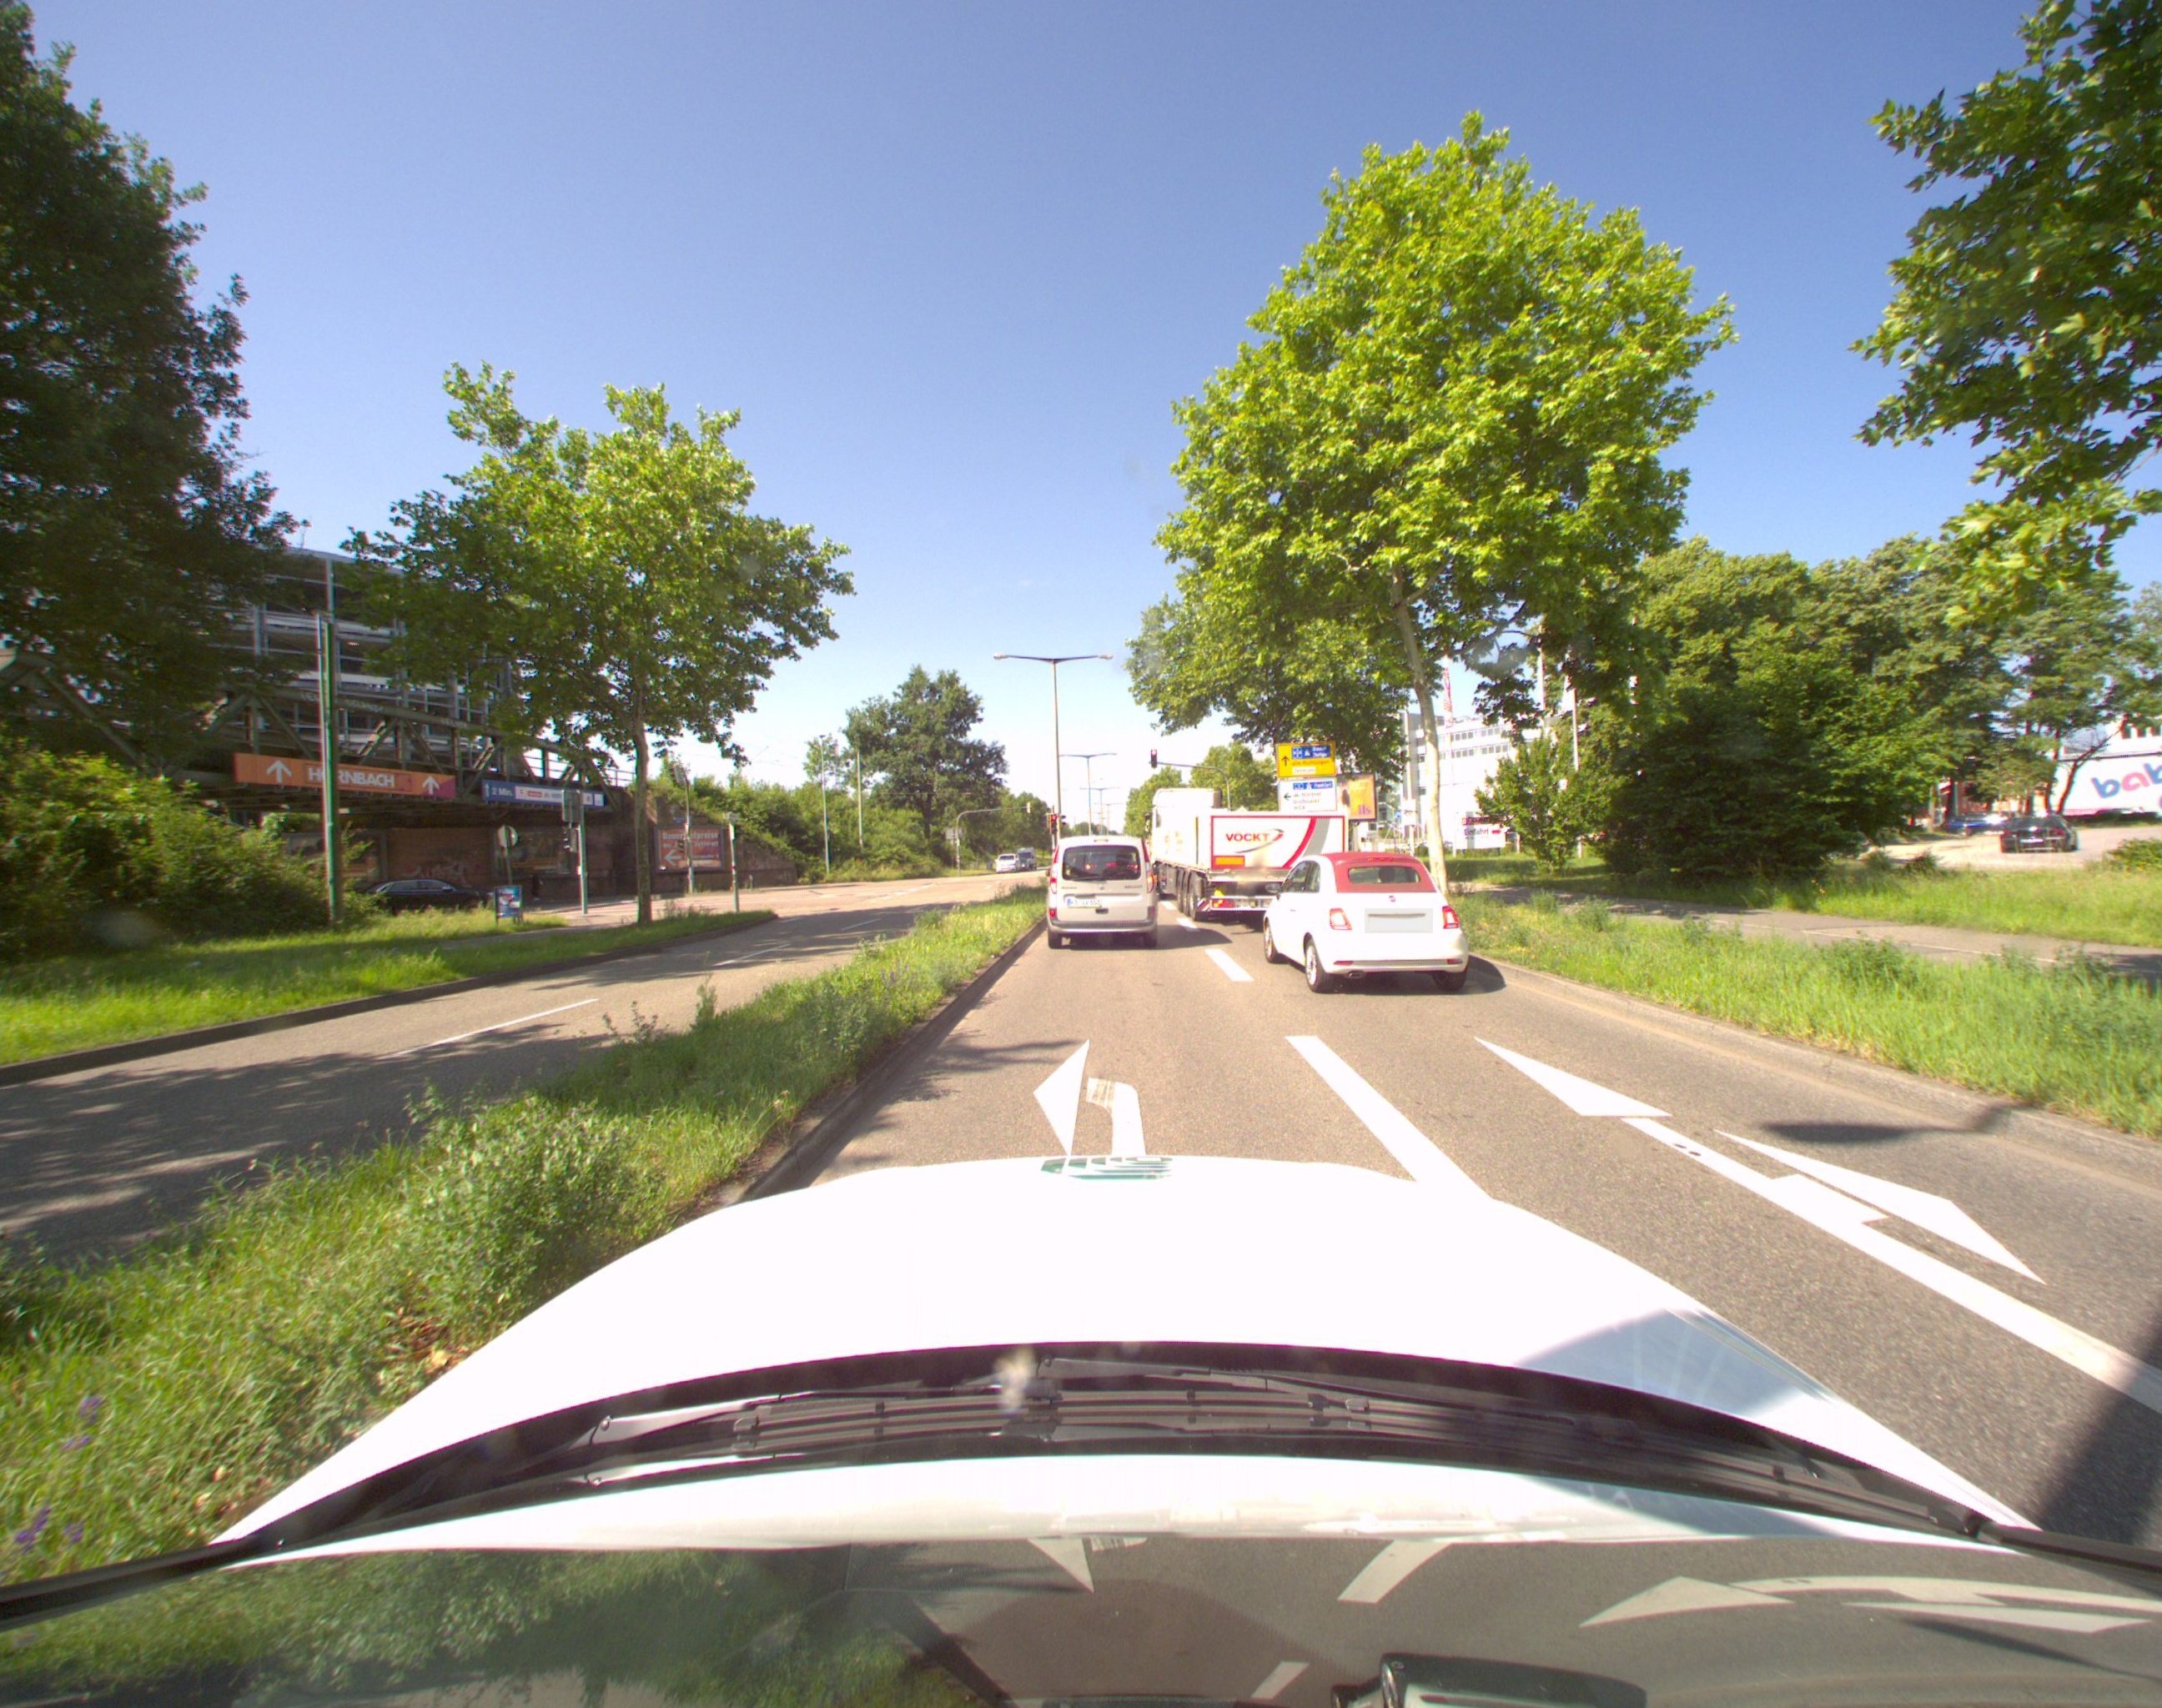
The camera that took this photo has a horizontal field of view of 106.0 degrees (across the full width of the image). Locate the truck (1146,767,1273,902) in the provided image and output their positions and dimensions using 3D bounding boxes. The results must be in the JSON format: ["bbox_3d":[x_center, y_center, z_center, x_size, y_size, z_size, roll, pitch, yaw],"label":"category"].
[{"bbox_3d":[3.928,-0.551,26.797,3.061,3.758,7.477,-1,0,1],"label":"truck"}]

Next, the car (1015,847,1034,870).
[{"bbox_3d":[-6.607,0.505,94.735,2.055,2.614,5.860,-1,0,-4],"label":"car"}]

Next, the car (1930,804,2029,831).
[{"bbox_3d":[56.906,-2.268,51.656,1.727,1.486,3.961,-1,0,-30],"label":"car"}]

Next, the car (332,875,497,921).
[{"bbox_3d":[-26.890,1.741,33.127,5.075,1.596,1.510,-1,0,-36],"label":"car"}]

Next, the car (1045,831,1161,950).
[{"bbox_3d":[0.387,0.561,14.347,1.743,1.772,3.950,-1,0,1],"label":"car"}]

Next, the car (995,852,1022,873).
[{"bbox_3d":[-6.990,0.793,78.892,1.987,1.891,4.988,-4,0,1],"label":"car"}]

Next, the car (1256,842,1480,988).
[{"bbox_3d":[3.257,0.620,9.955,1.654,1.436,3.523,-1,0,3],"label":"car"}]

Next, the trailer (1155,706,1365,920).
[{"bbox_3d":[3.729,-0.710,20.581,3.004,3.740,12.246,-1,0,2],"label":"trailer"}]

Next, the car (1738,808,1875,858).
[{"bbox_3d":[27.080,-0.753,30.470,1.778,1.716,3.703,-1,0,-45],"label":"car"}]

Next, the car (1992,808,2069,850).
[{"bbox_3d":[37.070,-0.943,31.868,3.746,1.515,1.754,-1,0,-43],"label":"car"}]

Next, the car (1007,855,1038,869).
[{"bbox_3d":[-6.323,0.850,87.015,1.920,1.409,4.192,-1,0,-25],"label":"car"}]

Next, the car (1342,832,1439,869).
[{"bbox_3d":[14.570,-0.163,38.484,3.965,1.662,1.726,-1,0,7],"label":"car"}]

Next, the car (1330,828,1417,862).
[{"bbox_3d":[15.125,-0.450,42.263,3.965,1.662,1.726,-1,0,7],"label":"car"}]
